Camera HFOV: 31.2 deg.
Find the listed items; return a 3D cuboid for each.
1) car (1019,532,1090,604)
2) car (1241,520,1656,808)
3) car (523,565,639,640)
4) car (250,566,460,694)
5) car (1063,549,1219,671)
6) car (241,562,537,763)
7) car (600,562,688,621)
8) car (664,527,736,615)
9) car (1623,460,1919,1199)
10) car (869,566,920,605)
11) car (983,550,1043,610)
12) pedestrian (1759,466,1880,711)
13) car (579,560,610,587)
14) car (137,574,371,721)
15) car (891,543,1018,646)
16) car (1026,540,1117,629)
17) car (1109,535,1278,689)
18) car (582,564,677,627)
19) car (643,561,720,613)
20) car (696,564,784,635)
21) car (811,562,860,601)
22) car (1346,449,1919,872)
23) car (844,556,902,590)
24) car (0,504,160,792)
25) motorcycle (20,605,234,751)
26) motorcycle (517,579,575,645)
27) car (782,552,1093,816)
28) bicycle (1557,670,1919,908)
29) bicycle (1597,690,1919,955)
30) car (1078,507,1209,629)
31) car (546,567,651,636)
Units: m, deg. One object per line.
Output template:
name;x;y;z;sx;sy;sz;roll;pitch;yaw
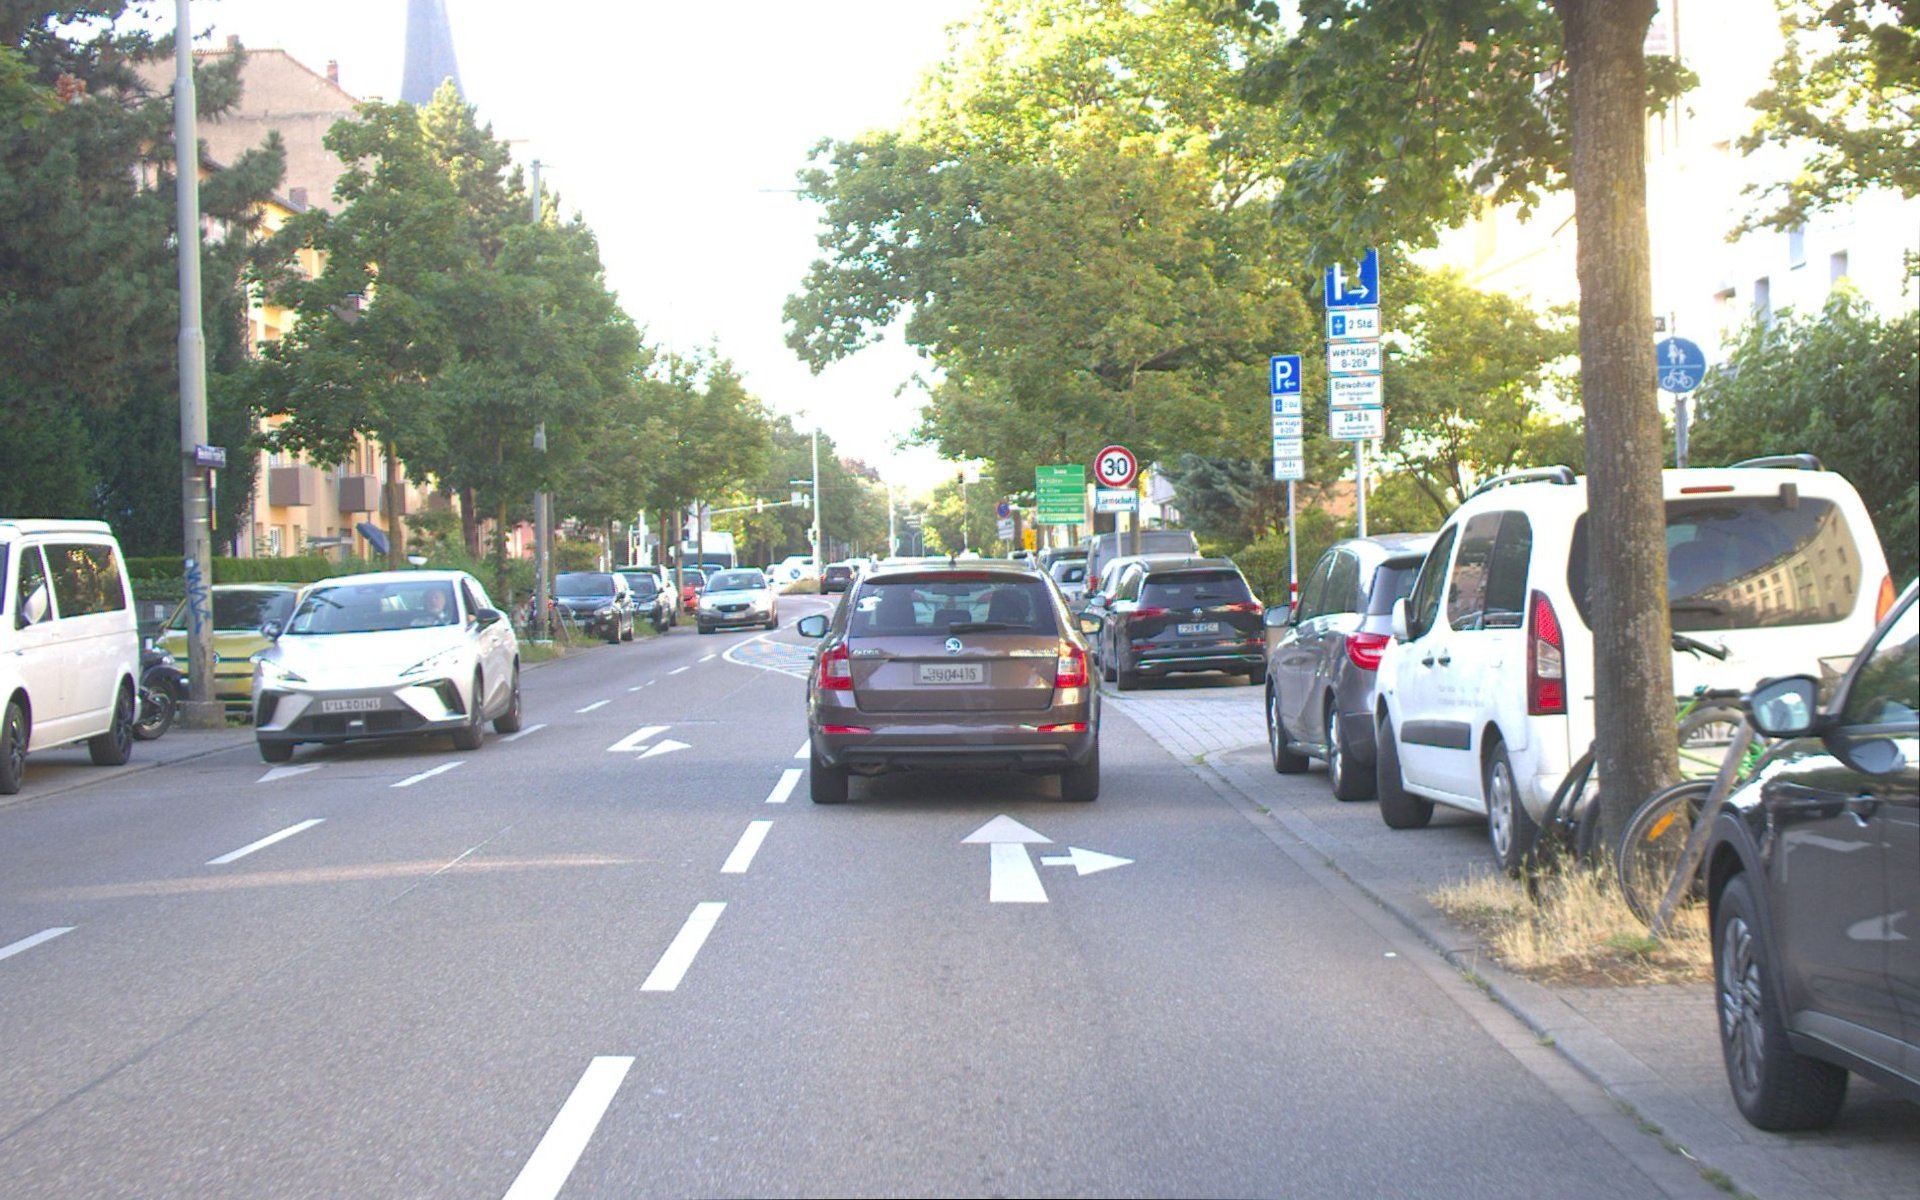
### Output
car;2.405;-0.827;87.479;1.754;1.800;4.000;0;1;1
car;2.950;0.333;21.649;1.754;1.551;4.253;-3;1;-3
car;-7.696;0.027;70.087;1.781;1.475;4.033;0;1;2
car;-7.404;0.331;42.427;1.781;1.489;3.971;0;1;2
car;2.368;0.103;45.830;1.754;1.551;4.105;0;1;-2
car;-4.802;0.480;29.433;1.781;1.489;3.971;-3;1;0
car;-8.091;-0.245;88.305;1.781;1.475;3.971;0;1;2
car;-8.398;-0.954;111.338;1.991;2.771;5.504;0;1;-1
car;2.761;0.507;7.709;1.754;1.657;4.252;-2;1;1
car;-2.541;-0.583;132.847;1.781;1.475;3.971;0;1;-3
car;1.595;-0.619;104.562;1.754;1.800;4.000;0;1;0
pedestrian;6.723;-0.095;26.928;0.799;1.854;0.950;-2;1;11
car;-25.422;-1.847;238.804;1.993;1.744;4.001;-2;1;-8
car;-7.556;0.476;37.127;1.619;1.475;3.871;0;1;2
car;-0.110;-0.071;54.470;1.892;1.501;3.790;2;0;-1
car;2.206;-0.327;68.333;1.754;1.709;4.000;0;1;1
car;2.648;0.104;39.733;1.754;1.681;4.252;0;1;1
car;-7.910;-0.126;82.607;1.781;1.475;3.971;0;1;2
car;-7.977;-0.390;98.776;1.781;1.475;3.971;0;1;2
car;-5.157;-0.030;81.102;1.739;1.474;4.310;-4;1;-1
car;-5.853;-0.890;161.204;1.993;1.744;4.001;-2;1;-5
car;3.136;0.228;16.890;1.800;1.802;4.424;0;1;-2
car;-4.709;-1.445;184.939;1.993;1.744;4.001;-2;1;-18
car;-7.724;0.312;26.645;1.868;2.024;5.301;-1;1;-1
motorcycle;-7.626;0.693;31.594;0.659;1.200;2.330;-2;1;21
motorcycle;-7.716;0.208;64.128;0.740;1.200;2.141;0;1;3
car;-0.082;0.448;21.421;1.754;1.487;4.000;0;1;1
bicycle;3.206;0.744;13.726;1.552;0.866;0.393;-2;1;-9
bicycle;3.072;0.769;12.131;1.552;0.866;0.393;-2;1;-3
car;2.942;-0.534;56.110;1.916;1.854;5.633;-1;1;1
car;-7.975;0.014;76.168;1.781;1.475;3.971;0;1;2
